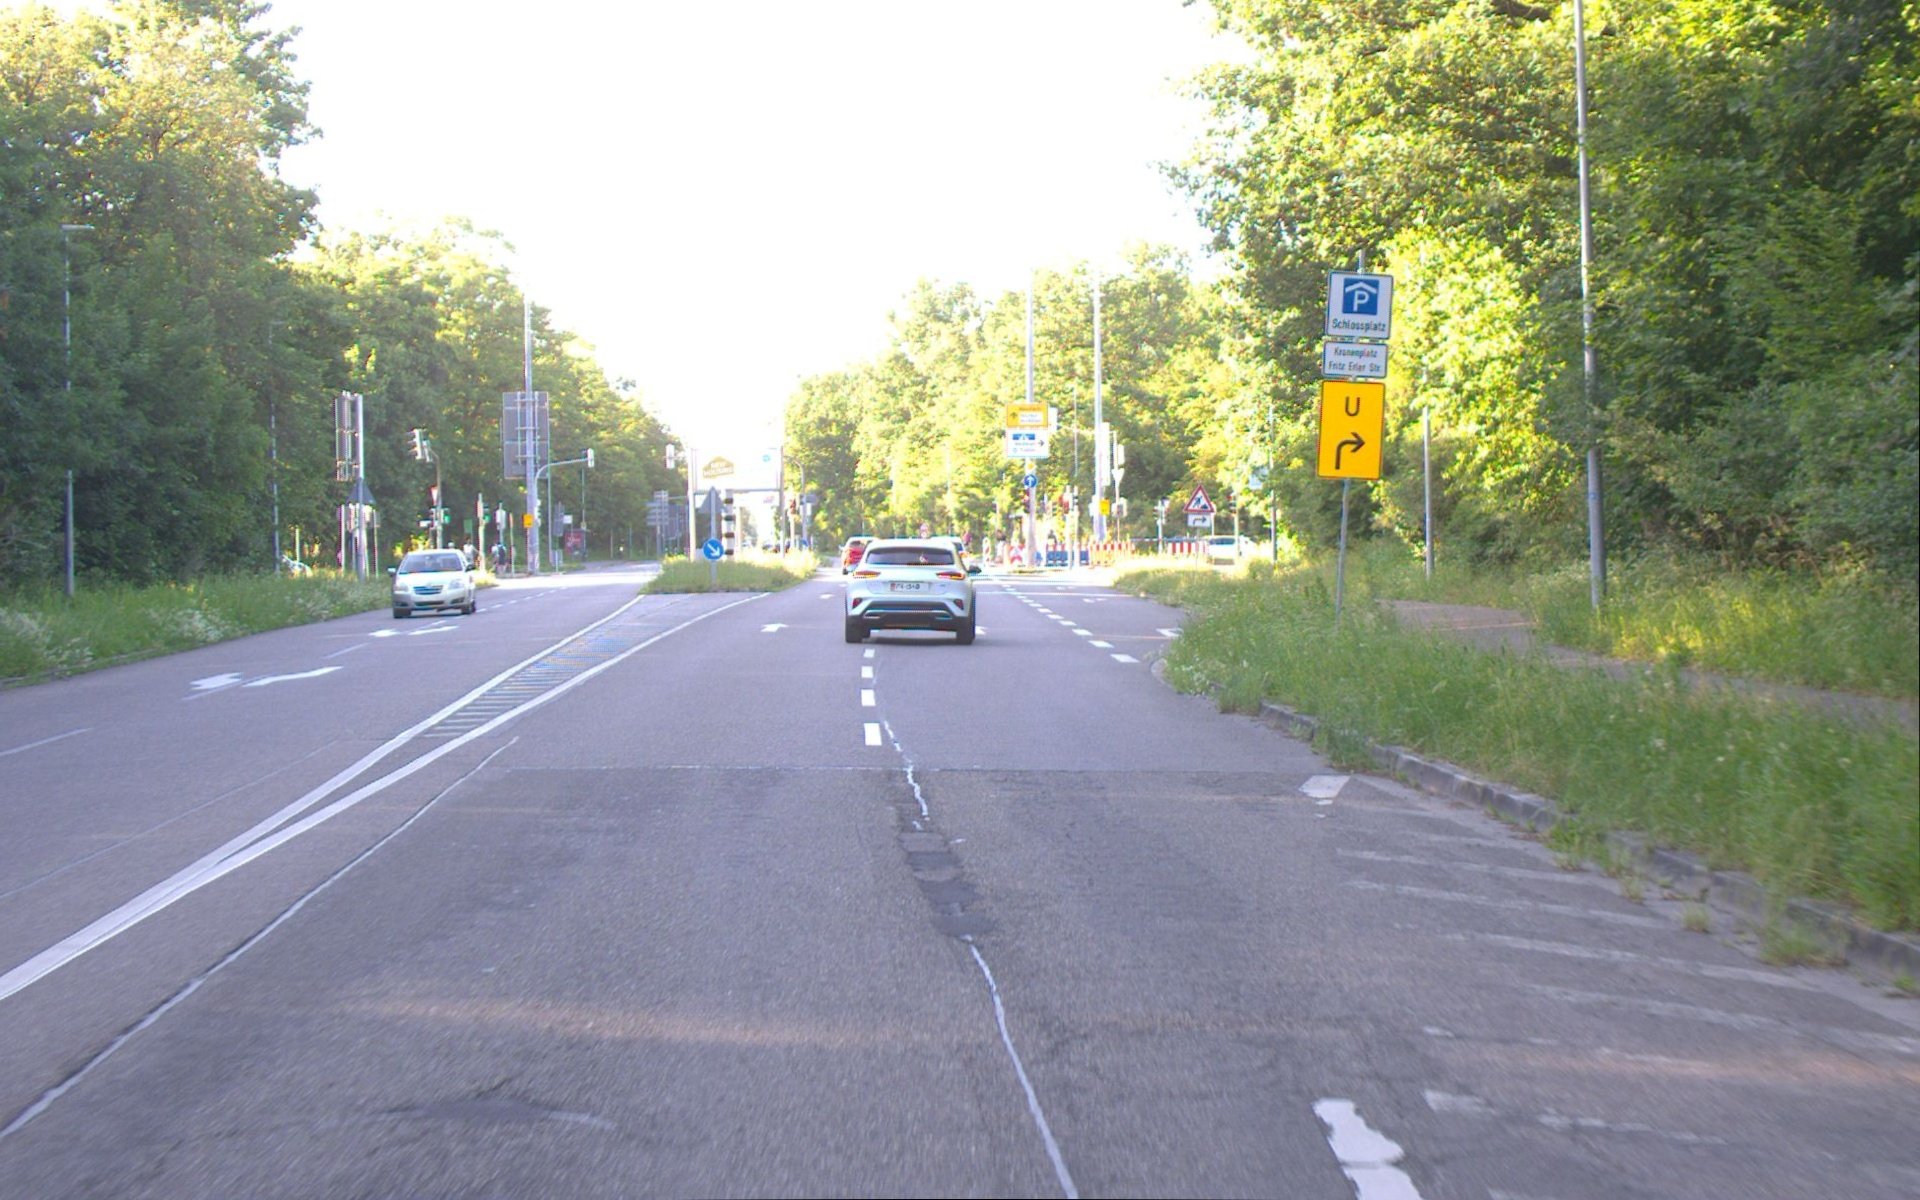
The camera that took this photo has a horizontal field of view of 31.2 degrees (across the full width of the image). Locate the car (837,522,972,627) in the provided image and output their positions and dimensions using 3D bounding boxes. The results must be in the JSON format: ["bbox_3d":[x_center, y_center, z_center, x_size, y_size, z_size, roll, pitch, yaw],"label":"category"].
[{"bbox_3d":[-0.810,-0.397,49.872,1.863,1.439,4.000,0,1,-1],"label":"car"}]

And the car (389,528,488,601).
[{"bbox_3d":[-11.622,-0.815,76.817,1.828,1.450,4.482,-3,2,-5],"label":"car"}]

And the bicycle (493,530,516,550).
[{"bbox_3d":[-21.278,-2.804,160.633,0.715,0.911,1.911,-1,1,2],"label":"bicycle"}]

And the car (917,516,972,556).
[{"bbox_3d":[-0.567,-2.350,126.106,1.940,1.409,4.000,-1,1,0],"label":"car"}]

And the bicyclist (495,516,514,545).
[{"bbox_3d":[-21.281,-3.237,160.619,0.715,1.351,0.990,-1,1,2],"label":"bicyclist"}]

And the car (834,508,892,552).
[{"bbox_3d":[-3.773,-2.738,133.648,1.993,1.679,4.001,-1,1,-5],"label":"car"}]

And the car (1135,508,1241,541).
[{"bbox_3d":[11.258,-3.739,169.715,4.816,1.575,2.001,-1,1,-22],"label":"car"}]
